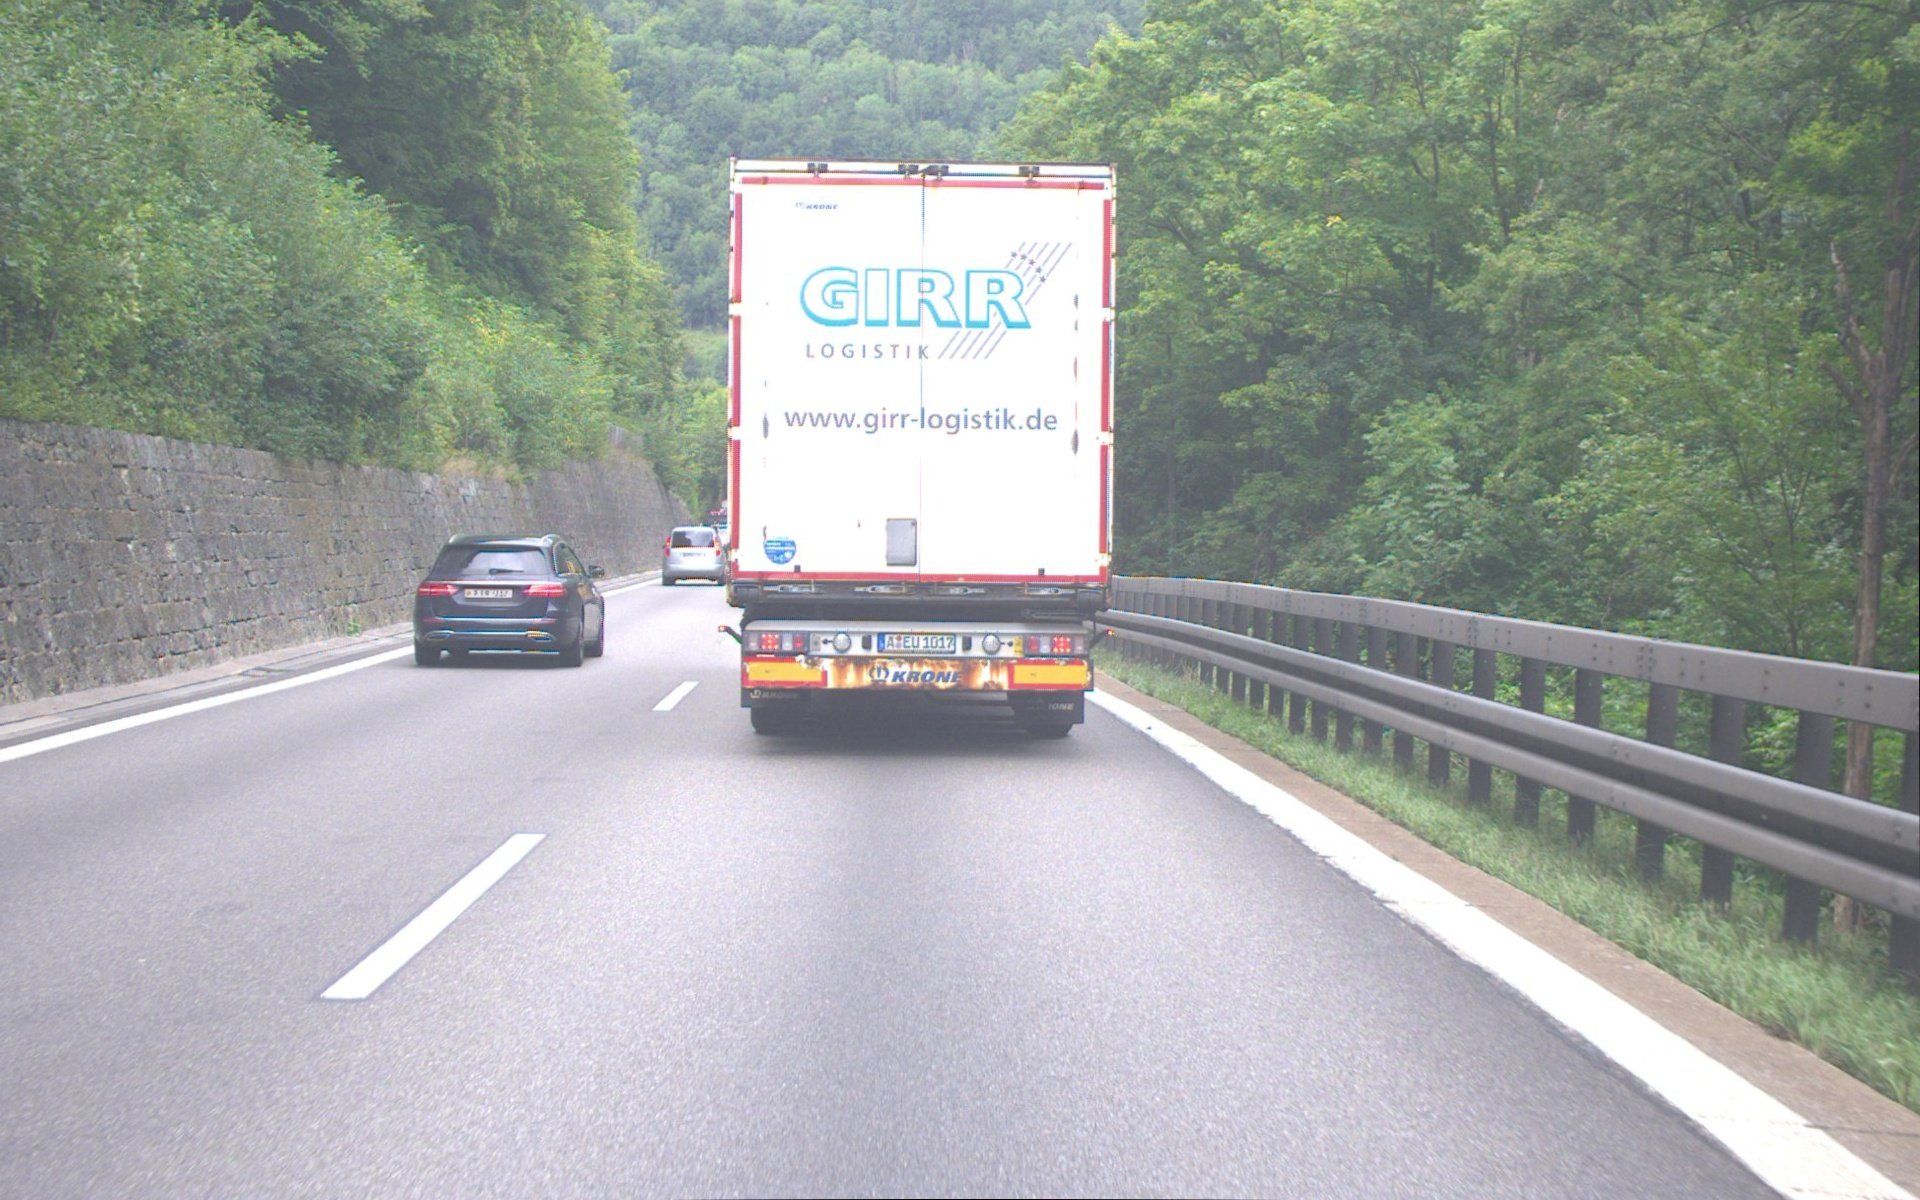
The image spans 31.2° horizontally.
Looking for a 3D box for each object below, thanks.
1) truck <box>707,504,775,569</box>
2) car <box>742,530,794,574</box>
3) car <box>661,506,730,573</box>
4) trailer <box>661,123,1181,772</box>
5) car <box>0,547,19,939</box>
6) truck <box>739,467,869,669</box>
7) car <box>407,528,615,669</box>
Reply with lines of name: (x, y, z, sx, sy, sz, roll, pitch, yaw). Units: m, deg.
truck: (-8.165, -2.397, 128.838, 2.349, 2.266, 6.850, 3, 1, -3)
car: (-8.812, -2.221, 157.961, 2.018, 1.907, 5.564, 3, 1, 0)
car: (-7.211, -1.654, 93.884, 1.634, 1.720, 4.345, 2, 1, -2)
trailer: (-0.444, -1.125, 27.208, 3.133, 4.028, 9.441, 4, 1, -2)
car: (-4.473, 0.553, 10.757, 1.836, 1.464, 4.555, 1, 1, -1)
truck: (-3.221, -0.676, 69.609, 2.233, 3.791, 6.824, 3, 1, -5)
car: (-5.065, -0.066, 39.365, 1.760, 1.458, 5.123, 1, 1, -1)
